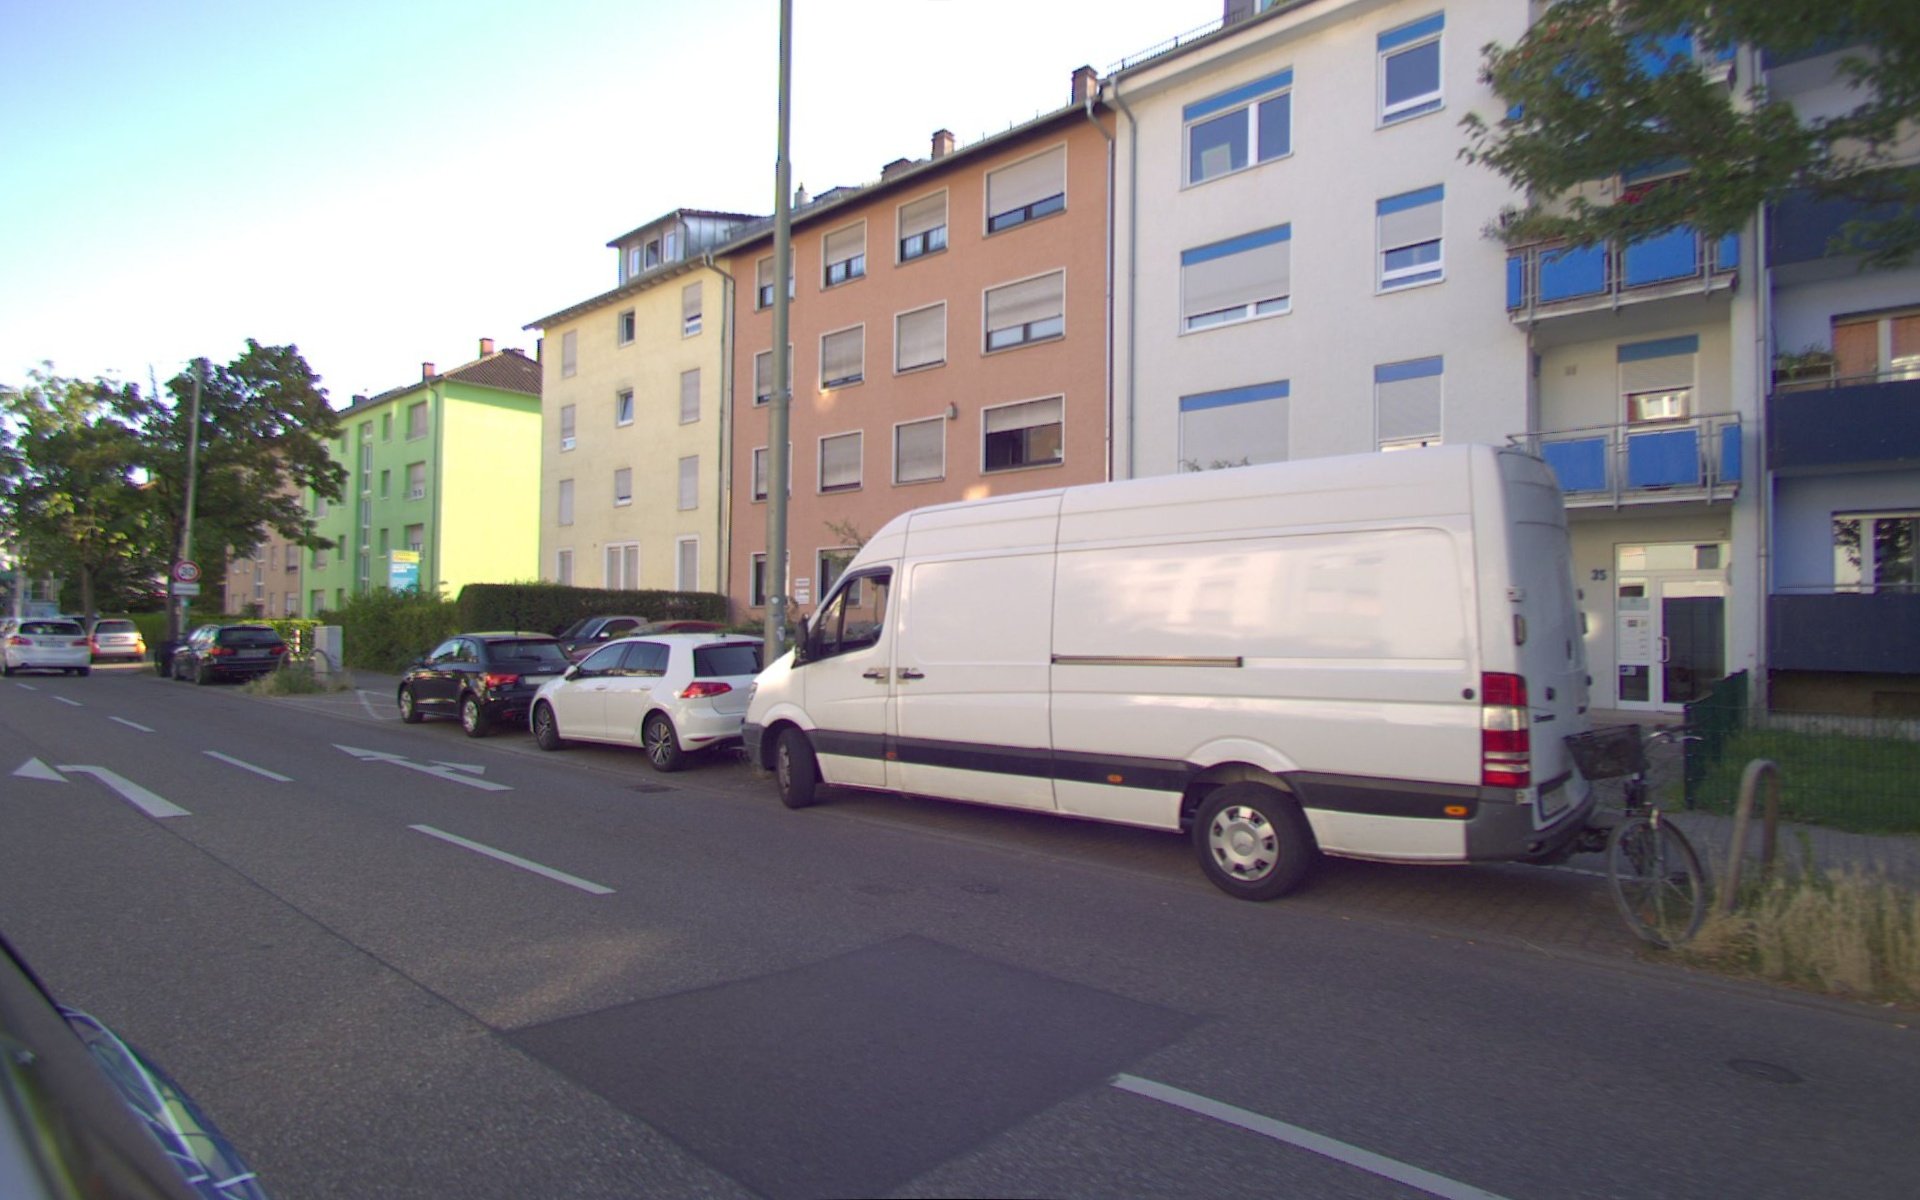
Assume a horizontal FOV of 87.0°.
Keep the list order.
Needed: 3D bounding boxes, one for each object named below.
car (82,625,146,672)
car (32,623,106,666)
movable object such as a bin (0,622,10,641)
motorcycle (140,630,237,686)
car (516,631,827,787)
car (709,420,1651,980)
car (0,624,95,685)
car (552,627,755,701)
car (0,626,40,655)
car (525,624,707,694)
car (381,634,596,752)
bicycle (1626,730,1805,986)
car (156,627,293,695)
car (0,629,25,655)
[{"bbox_3d":[-30.678,1.727,36.689,2.862,1.629,1.482,-1,-2,45],"label":"car"},{"bbox_3d":[-37.566,1.843,42.633,4.616,1.746,1.764,-1,-3,42],"label":"car"},{"bbox_3d":[-91.261,2.995,96.185,1.180,1.670,1.292,0,2,41],"label":"movable object such as a bin"},{"bbox_3d":[-21.167,1.570,27.825,0.980,1.399,2.022,0,0,9],"label":"motorcycle"},{"bbox_3d":[-3.598,1.160,12.229,4.057,1.503,1.689,-1,0,42],"label":"car"},{"bbox_3d":[0.949,0.535,7.873,7.102,2.636,1.972,-1,-2,42],"label":"car"},{"bbox_3d":[-25.509,1.465,27.847,4.263,1.555,1.860,-2,-4,40],"label":"car"},{"bbox_3d":[-6.804,1.359,22.740,1.915,1.423,3.945,-1,-1,41],"label":"car"},{"bbox_3d":[-52.022,2.192,55.591,3.782,1.564,1.621,-1,-2,39],"label":"car"},{"bbox_3d":[-8.308,1.374,24.697,1.628,1.540,3.945,-1,-2,41],"label":"car"},{"bbox_3d":[-7.149,1.288,15.182,3.812,1.484,1.594,-1,-1,42],"label":"car"},{"bbox_3d":[3.973,1.264,5.286,1.454,1.022,0.440,1,-2,-41],"label":"bicycle"},{"bbox_3d":[-18.247,1.444,25.037,4.586,1.516,1.760,-1,-2,41],"label":"car"},{"bbox_3d":[-55.612,2.431,58.728,3.943,1.490,1.635,-1,-3,43],"label":"car"}]
